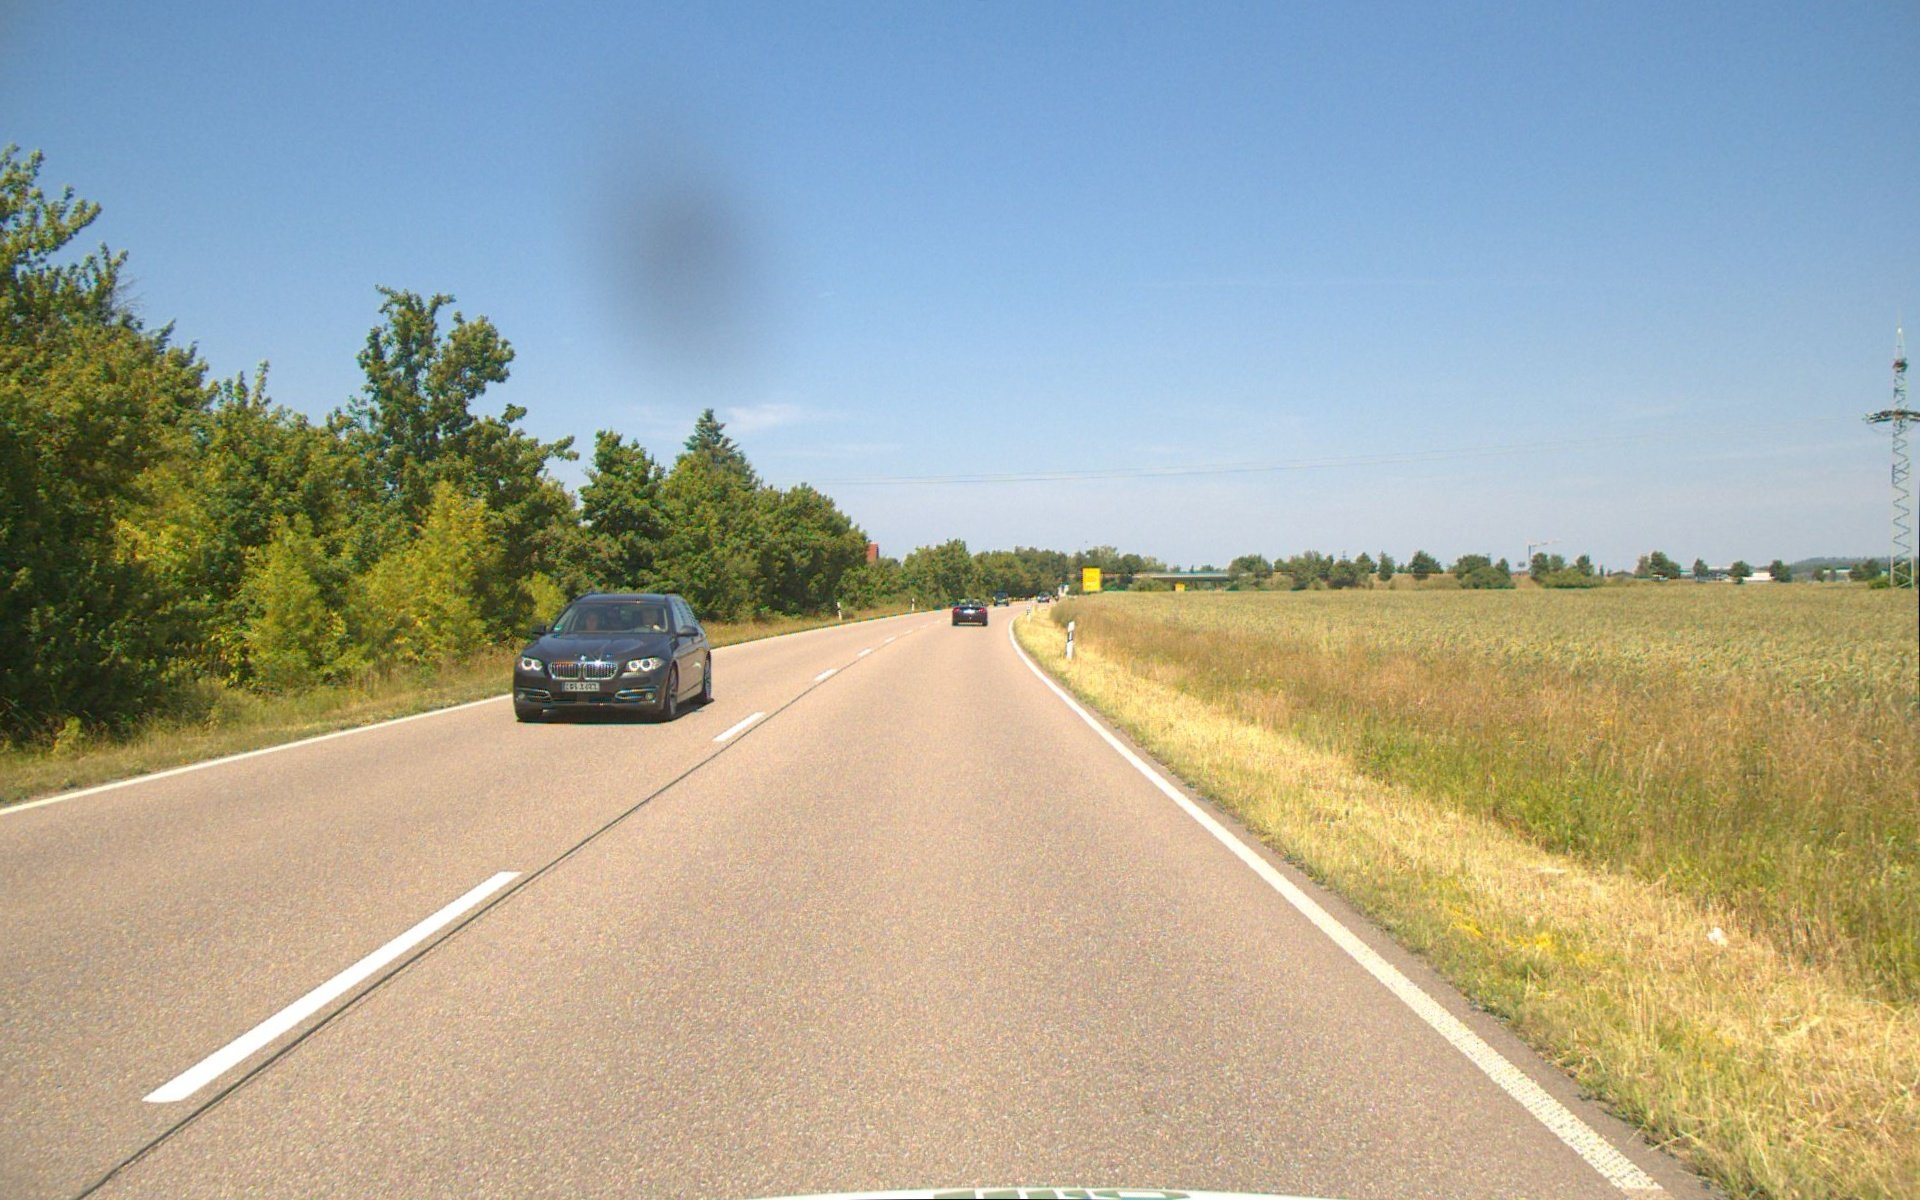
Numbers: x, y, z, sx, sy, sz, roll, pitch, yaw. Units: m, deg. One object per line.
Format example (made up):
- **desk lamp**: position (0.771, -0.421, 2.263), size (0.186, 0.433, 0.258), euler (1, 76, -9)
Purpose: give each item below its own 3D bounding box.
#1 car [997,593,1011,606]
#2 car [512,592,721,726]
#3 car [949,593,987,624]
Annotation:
- **car**: position (5.479, -0.045, 205.256), size (1.663, 1.594, 3.672), euler (-1, 0, 2)
- **car**: position (-4.138, 0.650, 20.632), size (1.764, 1.476, 4.531), euler (1, 0, -2)
- **car**: position (0.429, 0.416, 82.092), size (1.777, 1.466, 4.001), euler (1, 0, 1)
